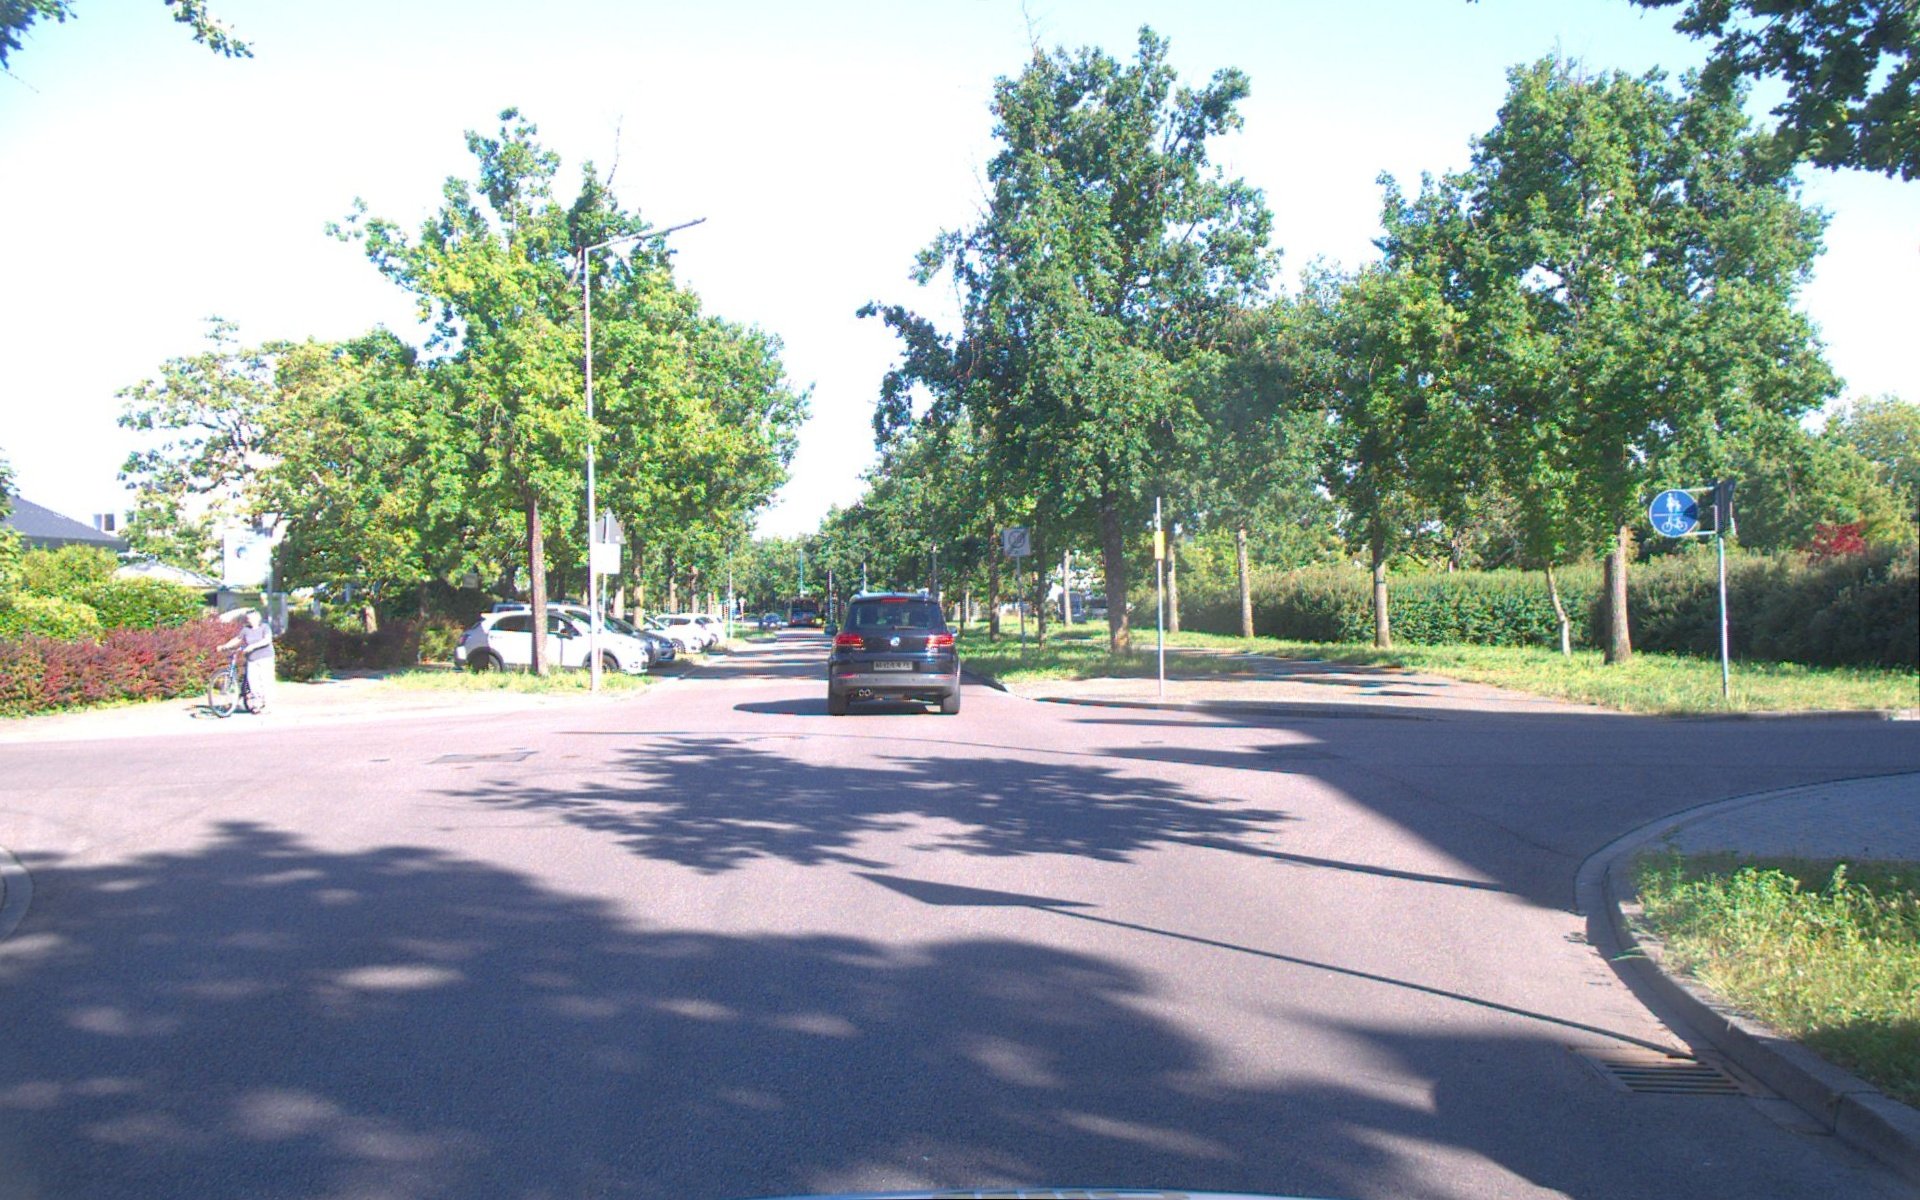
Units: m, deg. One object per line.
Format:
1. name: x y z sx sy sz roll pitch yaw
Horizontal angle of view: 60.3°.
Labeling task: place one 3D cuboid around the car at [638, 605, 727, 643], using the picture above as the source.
1. car: -13.104 1.123 78.301 3.937 1.676 1.810 -2 0 -4

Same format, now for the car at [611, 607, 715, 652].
1. car: -12.121 1.179 67.688 3.937 1.676 1.810 -2 0 -4

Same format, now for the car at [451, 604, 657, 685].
1. car: -8.982 0.974 36.868 4.158 1.651 1.895 -1 -1 -4

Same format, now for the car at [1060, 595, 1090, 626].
1. car: 8.081 0.742 115.733 2.011 2.049 4.002 -1 -1 4

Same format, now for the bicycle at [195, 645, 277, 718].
1. bicycle: -11.112 1.233 25.438 0.438 1.057 1.892 -1 -1 -1

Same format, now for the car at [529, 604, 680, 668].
1. car: -10.107 1.006 47.255 3.937 1.676 1.895 -2 0 -4

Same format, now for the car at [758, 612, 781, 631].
1. car: -17.112 1.936 148.659 1.816 1.723 3.952 -1 -1 -4

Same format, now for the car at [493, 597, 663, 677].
1. car: -9.724 0.926 42.331 3.937 1.872 1.895 -2 0 -4

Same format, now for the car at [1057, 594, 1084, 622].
1. car: 8.424 0.570 126.126 1.952 2.049 4.002 -2 0 4

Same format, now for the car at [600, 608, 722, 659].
1. car: -10.337 1.152 57.318 3.937 1.676 1.809 -1 -1 -4

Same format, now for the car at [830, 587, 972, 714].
1. car: -0.761 0.669 23.725 1.800 1.665 3.958 0 0 1

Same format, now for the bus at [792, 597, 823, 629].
1. bus: -15.319 1.336 166.344 2.870 3.056 5.732 -1 -1 -3

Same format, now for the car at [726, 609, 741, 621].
1. car: -32.839 2.168 239.837 1.789 1.578 3.686 -2 0 -4

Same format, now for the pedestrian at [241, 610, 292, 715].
1. pedestrian: -10.677 0.956 25.485 0.432 1.584 0.801 -1 -1 -1
